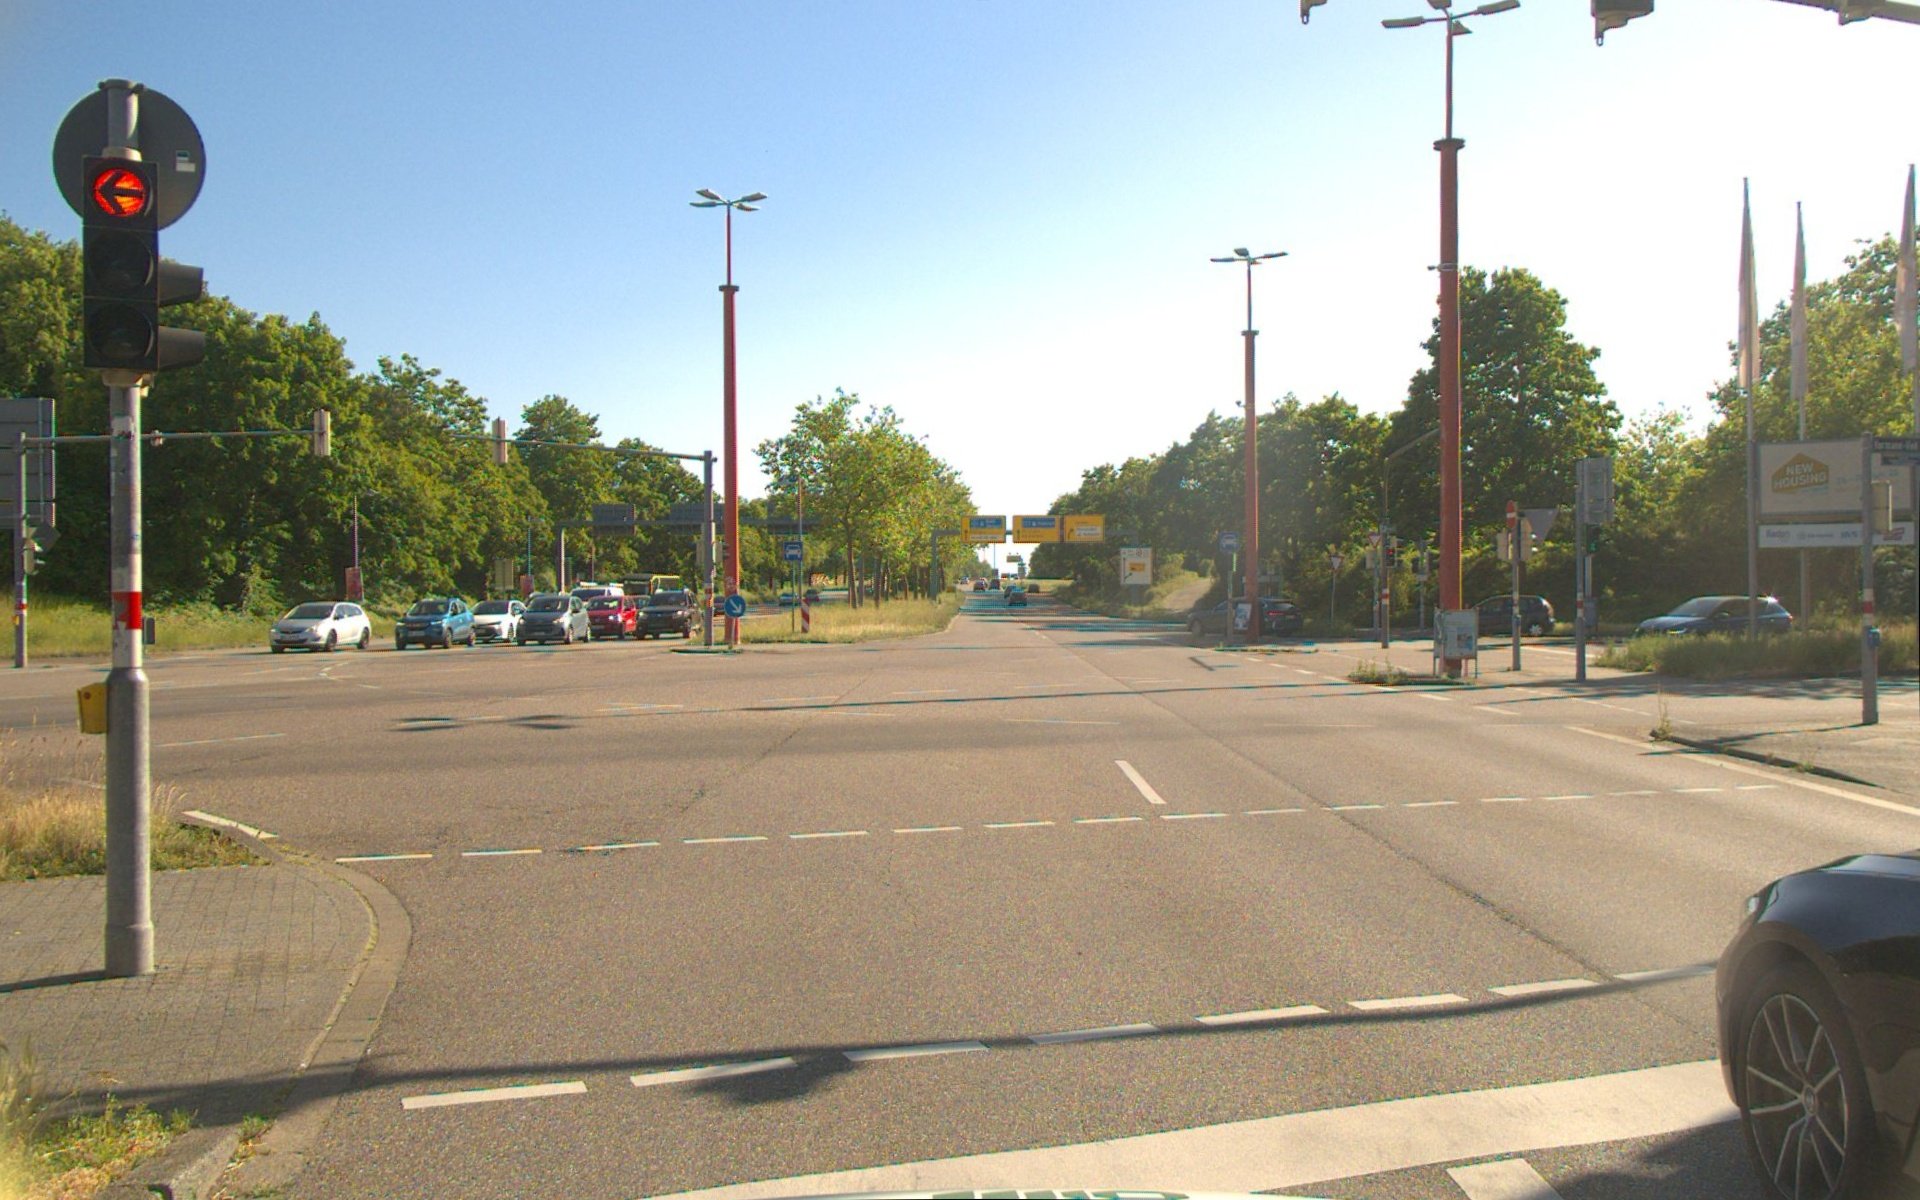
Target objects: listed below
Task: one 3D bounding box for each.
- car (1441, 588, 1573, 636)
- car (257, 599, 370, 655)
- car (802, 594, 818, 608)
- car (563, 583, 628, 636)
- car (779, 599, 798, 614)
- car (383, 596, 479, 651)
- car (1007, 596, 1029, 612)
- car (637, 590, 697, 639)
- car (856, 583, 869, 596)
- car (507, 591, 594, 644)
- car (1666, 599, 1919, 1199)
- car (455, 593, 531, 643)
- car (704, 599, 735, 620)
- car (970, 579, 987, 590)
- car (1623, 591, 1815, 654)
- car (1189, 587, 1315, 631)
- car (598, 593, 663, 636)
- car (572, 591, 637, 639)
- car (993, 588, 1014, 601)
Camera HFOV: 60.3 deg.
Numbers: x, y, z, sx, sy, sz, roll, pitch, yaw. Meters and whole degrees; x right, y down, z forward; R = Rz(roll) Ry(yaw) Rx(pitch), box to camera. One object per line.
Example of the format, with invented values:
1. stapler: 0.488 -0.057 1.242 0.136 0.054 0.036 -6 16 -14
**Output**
1. car: 18.846 0.396 56.923 4.179 1.601 2.166 0 0 22
2. car: -19.589 0.786 50.300 1.954 1.601 4.118 0 0 -3
3. car: -17.937 0.152 197.658 1.840 1.601 4.116 0 0 -5
4. car: -15.674 0.389 71.267 2.021 2.231 4.376 0 0 -3
5. car: -17.871 0.676 172.273 1.840 1.601 3.943 0 0 -5
6. car: -16.211 0.683 50.893 1.955 1.601 4.116 0 0 -5
7. car: 5.723 0.374 164.815 2.114 1.601 4.281 0 0 1
8. car: -9.877 0.473 55.993 1.841 1.601 4.113 0 0 -8
9. car: -13.584 -1.496 230.462 1.860 1.802 3.847 0 0 -3
10. car: -12.808 0.522 51.967 1.954 1.601 4.118 0 0 -4
11. car: 2.969 0.710 2.362 1.953 1.419 4.476 0 0 -1
12. car: -15.993 0.598 56.786 1.956 1.601 4.113 -1 0 -8
13. car: -17.461 0.677 120.186 1.784 1.480 3.656 0 0 0
14. car: 2.897 -2.385 257.925 2.202 1.601 4.276 0 0 -5
15. car: 18.756 0.530 40.903 4.201 1.453 1.874 0 0 -19
16. car: 11.052 0.312 62.839 2.143 1.601 4.523 0 0 -37
17. car: -12.714 0.530 64.049 1.954 1.601 4.117 0 0 -4
18. car: -12.482 0.509 58.273 1.956 1.601 4.113 0 0 -8
19. car: 5.465 -0.750 208.409 2.116 1.601 4.277 0 0 -4
